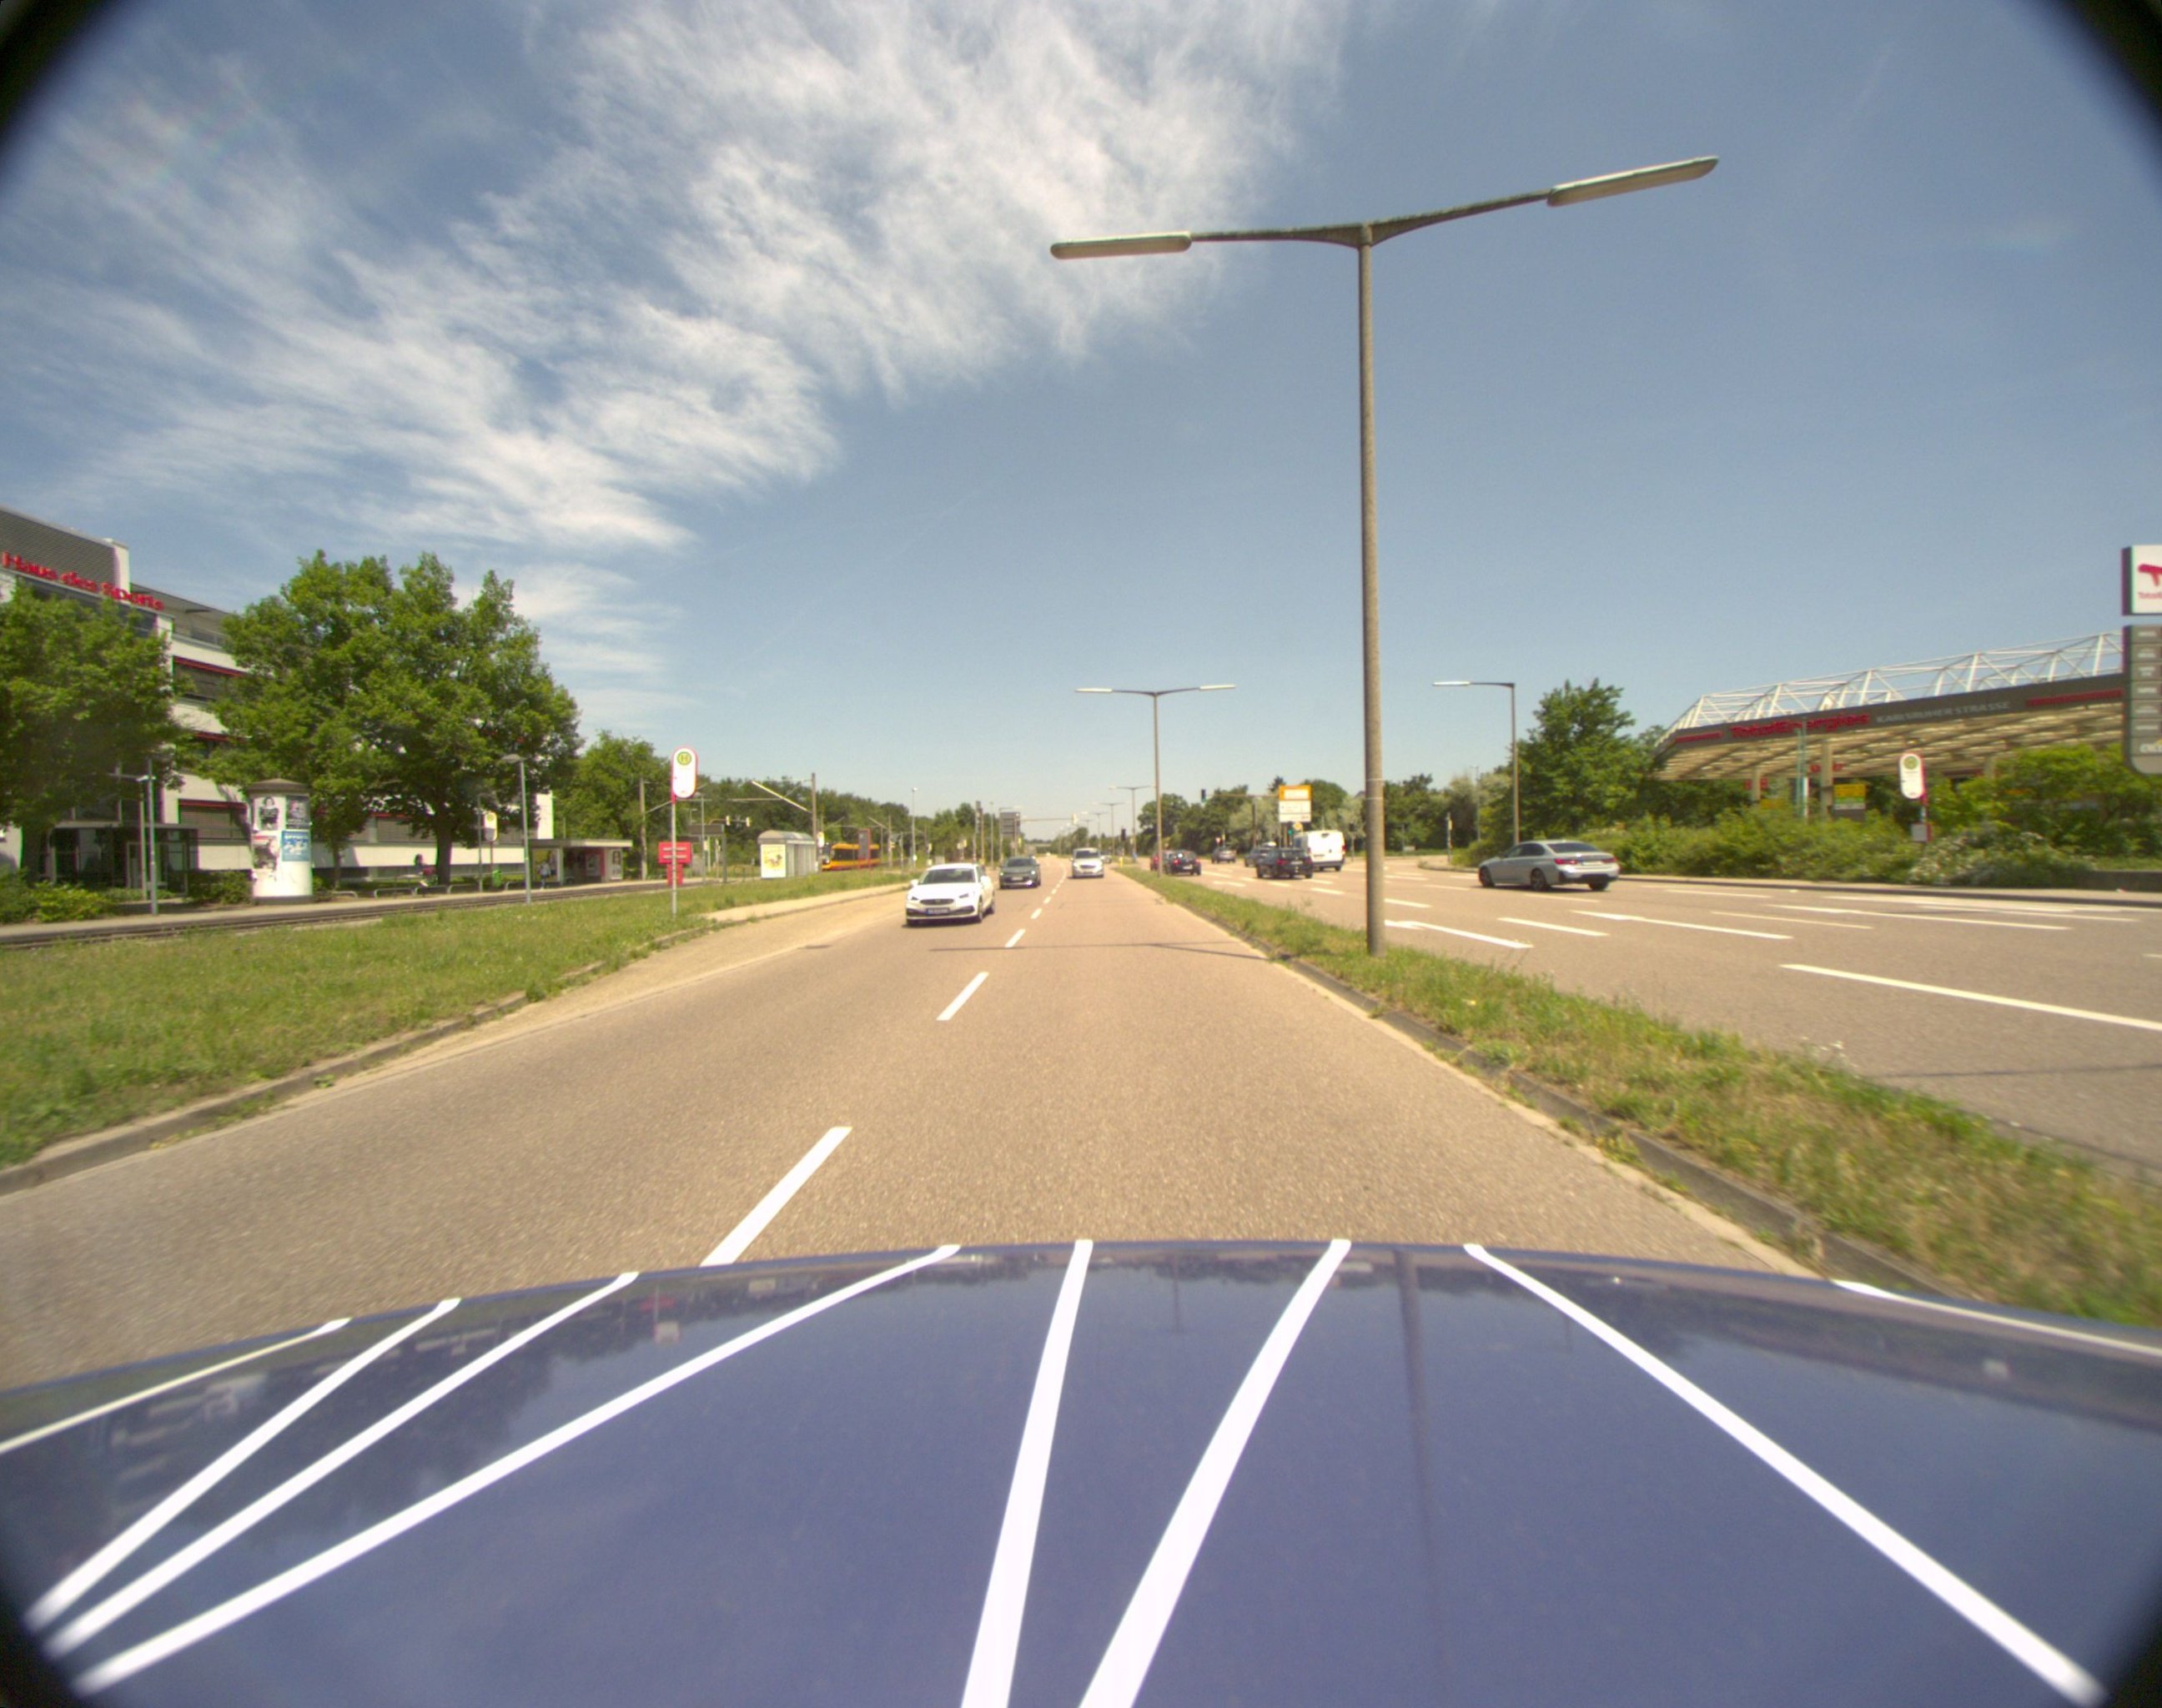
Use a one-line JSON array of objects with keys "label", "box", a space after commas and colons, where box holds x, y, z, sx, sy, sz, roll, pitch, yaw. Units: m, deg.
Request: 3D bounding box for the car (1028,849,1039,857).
[{"label": "car", "box": [-10.001, -0.179, 160.025, 1.998, 1.652, 4.000, -1, 0, 1]}]

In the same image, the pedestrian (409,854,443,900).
[{"label": "pedestrian", "box": [-26.447, 0.916, 30.675, 0.696, 1.831, 0.711, -3, 2, -15]}]

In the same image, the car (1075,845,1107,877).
[{"label": "car", "box": [0.567, 0.419, 48.528, 1.876, 1.866, 5.731, -2, 1, 0]}]

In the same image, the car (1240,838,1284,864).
[{"label": "car", "box": [13.486, -0.226, 56.826, 1.970, 1.740, 5.021, -3, 1, 0]}]

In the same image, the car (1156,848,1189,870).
[{"label": "car", "box": [6.058, 0.327, 50.718, 1.565, 1.415, 3.853, -2, 0, -2]}]

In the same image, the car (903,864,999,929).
[{"label": "car", "box": [-3.251, 1.015, 19.795, 1.686, 1.381, 4.450, 1, 0, 1]}]

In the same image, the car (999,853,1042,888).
[{"label": "car", "box": [-2.958, 0.760, 37.686, 1.723, 1.587, 4.000, -1, 0, 1]}]

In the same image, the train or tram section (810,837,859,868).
[{"label": "train or tram section", "box": [-30.123, -0.192, 93.396, 2.822, 3.561, 12.495, -1, 0, -5]}]

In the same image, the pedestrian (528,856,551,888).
[{"label": "pedestrian", "box": [-27.369, 0.912, 38.422, 0.553, 1.599, 0.690, -3, 2, 1]}]

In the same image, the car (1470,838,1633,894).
[{"label": "car", "box": [13.584, 0.291, 22.338, 1.835, 1.441, 4.851, -1, 0, 1]}]

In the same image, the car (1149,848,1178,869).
[{"label": "car", "box": [6.244, 0.294, 57.707, 1.663, 1.482, 3.999, -1, 0, -2]}]

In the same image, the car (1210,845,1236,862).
[{"label": "car", "box": [13.760, -0.061, 73.814, 1.663, 1.530, 3.999, -3, 1, -2]}]

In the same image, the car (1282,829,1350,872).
[{"label": "car", "box": [13.638, -0.247, 44.496, 2.255, 2.260, 5.448, -3, 1, 1]}]

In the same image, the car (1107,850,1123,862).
[{"label": "car", "box": [4.969, 0.302, 110.219, 1.922, 1.661, 4.000, -1, 1, -2]}]

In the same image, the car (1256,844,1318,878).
[{"label": "car", "box": [9.631, 0.293, 35.817, 1.735, 1.449, 4.564, -1, 0, 1]}]

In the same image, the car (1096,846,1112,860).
[{"label": "car", "box": [3.032, -0.152, 100.269, 1.785, 1.658, 4.530, -2, 1, -2]}]

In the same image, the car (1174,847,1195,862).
[{"label": "car", "box": [9.995, 0.036, 73.622, 1.451, 1.437, 3.505, -2, 1, 0]}]

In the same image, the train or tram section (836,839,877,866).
[{"label": "train or tram section", "box": [-31.093, -0.238, 105.877, 2.822, 3.561, 12.495, -1, 0, -4]}]

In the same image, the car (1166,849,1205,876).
[{"label": "car", "box": [6.143, 0.457, 45.076, 1.680, 1.426, 4.190, -2, 1, 0]}]
